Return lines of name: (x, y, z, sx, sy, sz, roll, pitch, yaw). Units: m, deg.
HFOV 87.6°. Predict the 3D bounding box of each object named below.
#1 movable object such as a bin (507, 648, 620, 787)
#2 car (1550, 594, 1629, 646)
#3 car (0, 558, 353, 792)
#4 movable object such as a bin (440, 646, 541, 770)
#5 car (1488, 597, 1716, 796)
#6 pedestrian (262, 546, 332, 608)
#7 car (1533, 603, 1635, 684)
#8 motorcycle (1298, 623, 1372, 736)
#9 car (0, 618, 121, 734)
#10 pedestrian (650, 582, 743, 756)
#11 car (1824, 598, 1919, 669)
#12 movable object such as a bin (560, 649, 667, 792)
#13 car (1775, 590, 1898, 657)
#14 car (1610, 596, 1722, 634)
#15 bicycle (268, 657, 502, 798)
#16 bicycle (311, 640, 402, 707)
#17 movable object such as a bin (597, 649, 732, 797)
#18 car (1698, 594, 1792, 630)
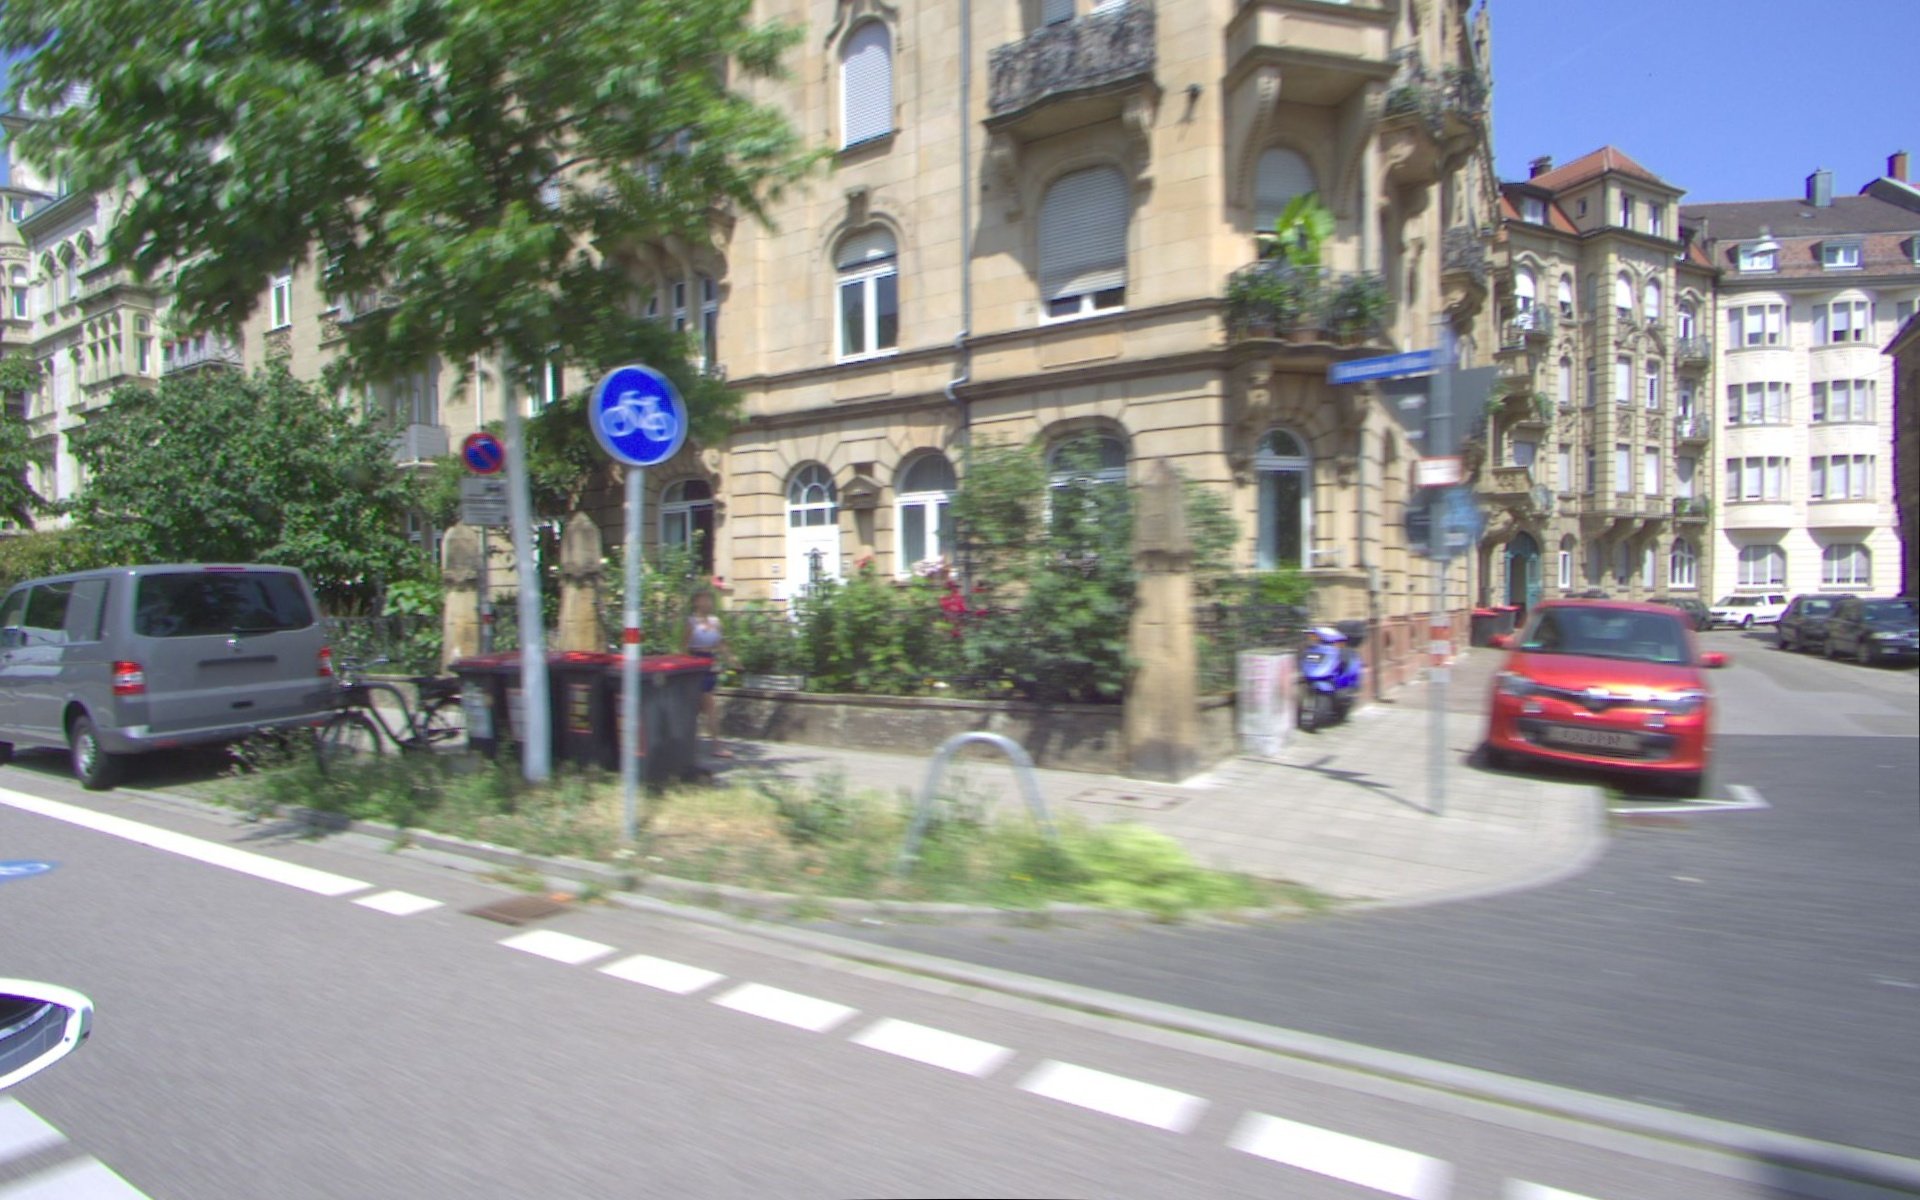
movable object such as a bin: (-3.322, 0.953, 8.408, 0.490, 1.076, 0.743, 0, 0, 38)
car: (20.825, 0.629, 33.283, 1.969, 1.627, 3.925, -1, 0, 29)
car: (-8.601, 0.630, 10.497, 4.767, 1.974, 1.874, 0, 1, 32)
movable object such as a bin: (-4.140, 0.933, 8.847, 0.556, 1.024, 0.596, 0, 0, 22)
car: (6.051, 0.744, 9.466, 1.533, 1.511, 3.443, 0, 0, 34)
pedestrian: (-12.095, -0.404, 18.274, 0.751, 1.084, 0.863, 0, 0, 36)
car: (12.084, 0.766, 19.402, 1.523, 1.405, 3.978, 0, 0, 32)
motorcycle: (4.320, 0.870, 11.484, 0.462, 1.179, 1.500, 0, 0, 34)
car: (-13.454, 0.979, 13.935, 3.943, 1.424, 1.607, 0, 0, 32)
pedestrian: (-2.569, 0.648, 9.767, 0.718, 1.619, 0.550, 0, 0, 34)
car: (20.799, 0.691, 22.222, 1.757, 1.390, 3.979, -4, -2, 31)
movable object such as a bin: (-2.807, 0.948, 8.136, 0.490, 1.076, 0.667, 0, 0, 38)
car: (23.133, 0.596, 26.567, 1.757, 1.576, 3.635, -4, -2, 31)
car: (29.504, 0.610, 41.833, 4.259, 1.491, 1.993, 0, 0, -25)
bicycle: (-4.908, 1.044, 8.709, 0.462, 1.004, 1.882, 0, 0, 22)
bicycle: (-8.733, 1.043, 14.477, 1.611, 0.892, 0.439, 0, 0, 32)
movable object such as a bin: (-2.272, 0.913, 7.723, 0.642, 1.027, 0.784, 0, 0, 38)
car: (34.288, 0.511, 43.744, 3.935, 1.499, 1.614, 0, 0, -24)
